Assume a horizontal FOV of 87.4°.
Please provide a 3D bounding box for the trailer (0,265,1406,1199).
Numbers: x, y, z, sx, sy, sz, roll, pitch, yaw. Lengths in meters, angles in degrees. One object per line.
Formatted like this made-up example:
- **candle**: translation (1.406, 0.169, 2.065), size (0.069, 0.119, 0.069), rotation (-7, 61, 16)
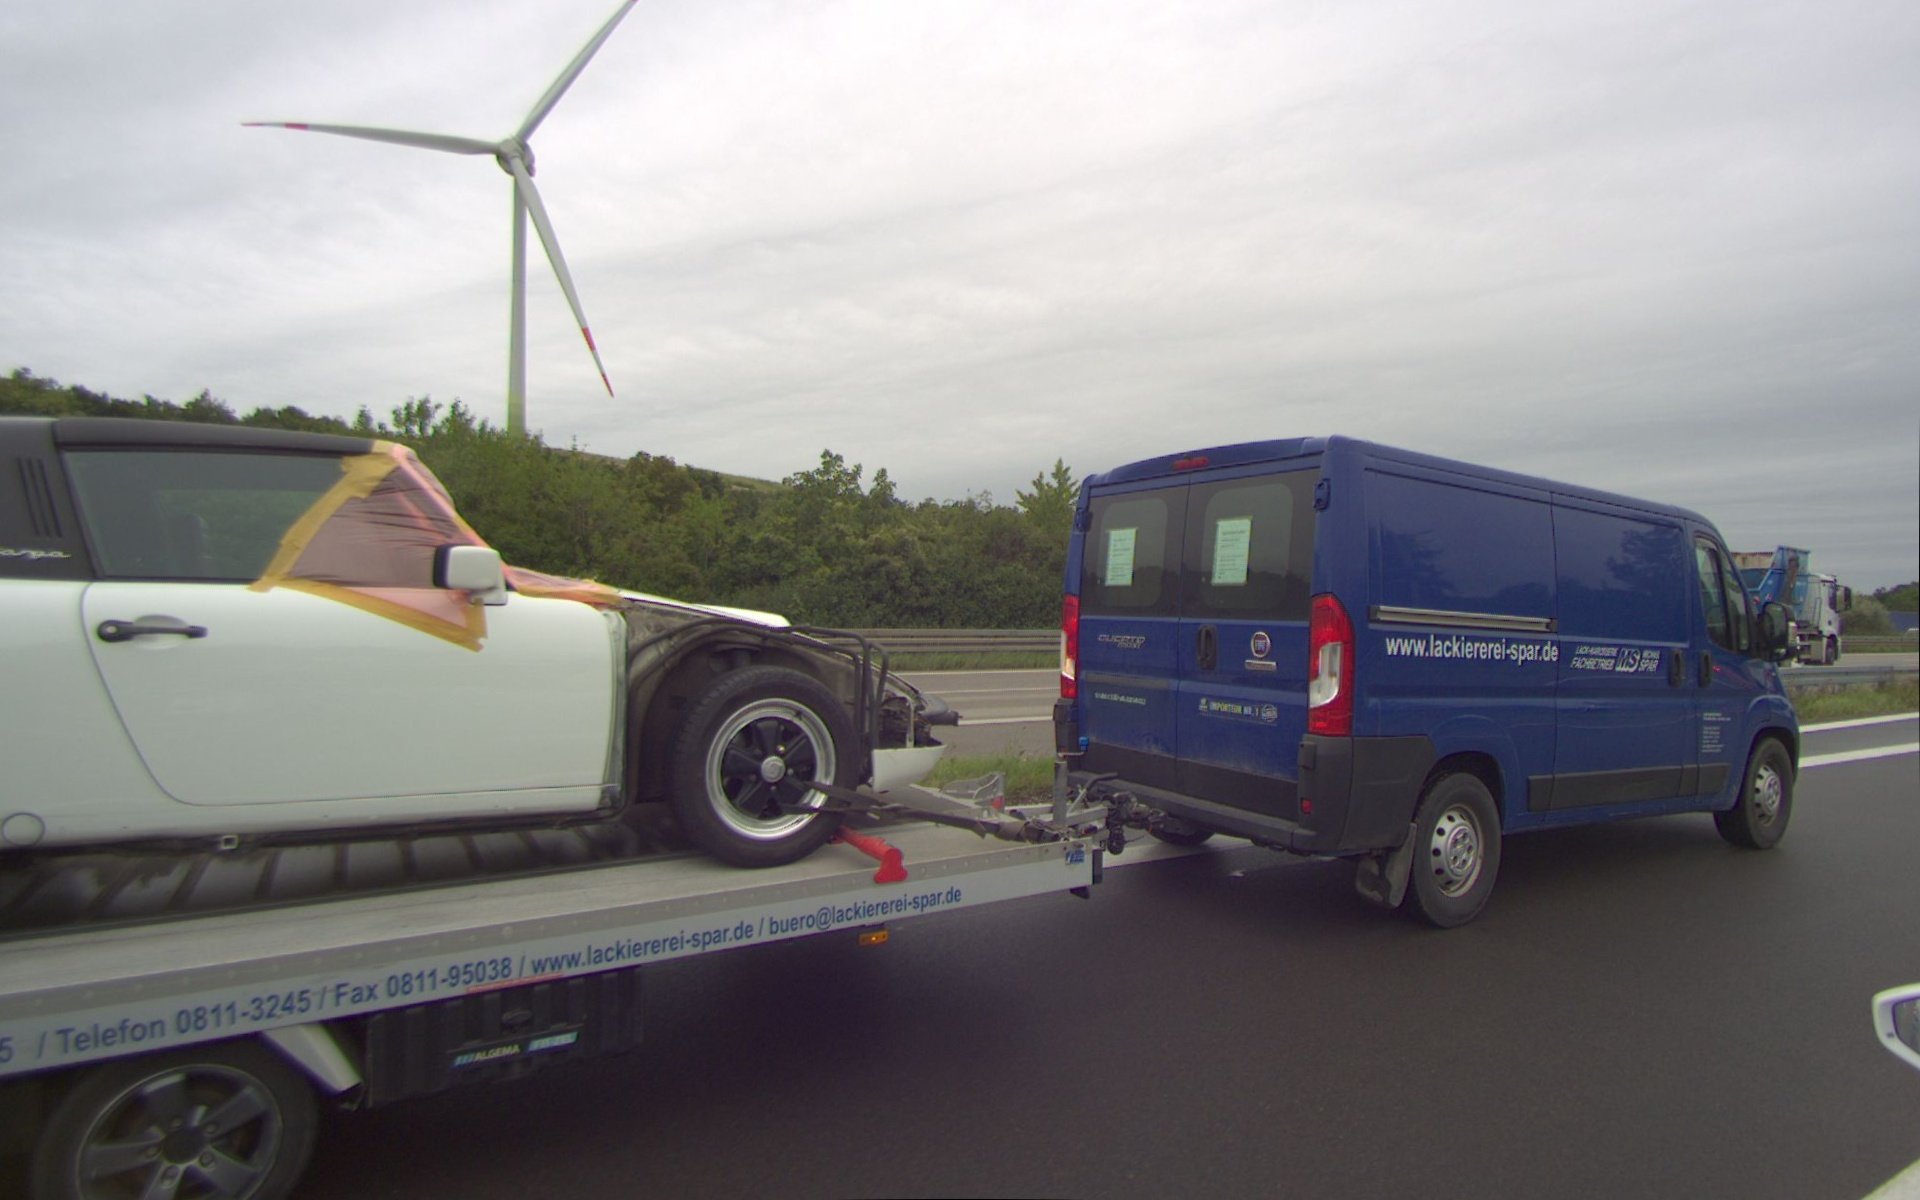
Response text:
- **trailer**: translation (-1.762, 0.364, 3.452), size (6.983, 2.021, 2.472), rotation (1, 0, -31)

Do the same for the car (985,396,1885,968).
- **car**: translation (3.410, 0.376, 6.660), size (6.185, 2.297, 2.360), rotation (1, 0, -31)

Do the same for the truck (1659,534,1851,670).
- **truck**: translation (25.277, 0.148, 31.809), size (7.267, 3.863, 2.622), rotation (2, 0, -34)
